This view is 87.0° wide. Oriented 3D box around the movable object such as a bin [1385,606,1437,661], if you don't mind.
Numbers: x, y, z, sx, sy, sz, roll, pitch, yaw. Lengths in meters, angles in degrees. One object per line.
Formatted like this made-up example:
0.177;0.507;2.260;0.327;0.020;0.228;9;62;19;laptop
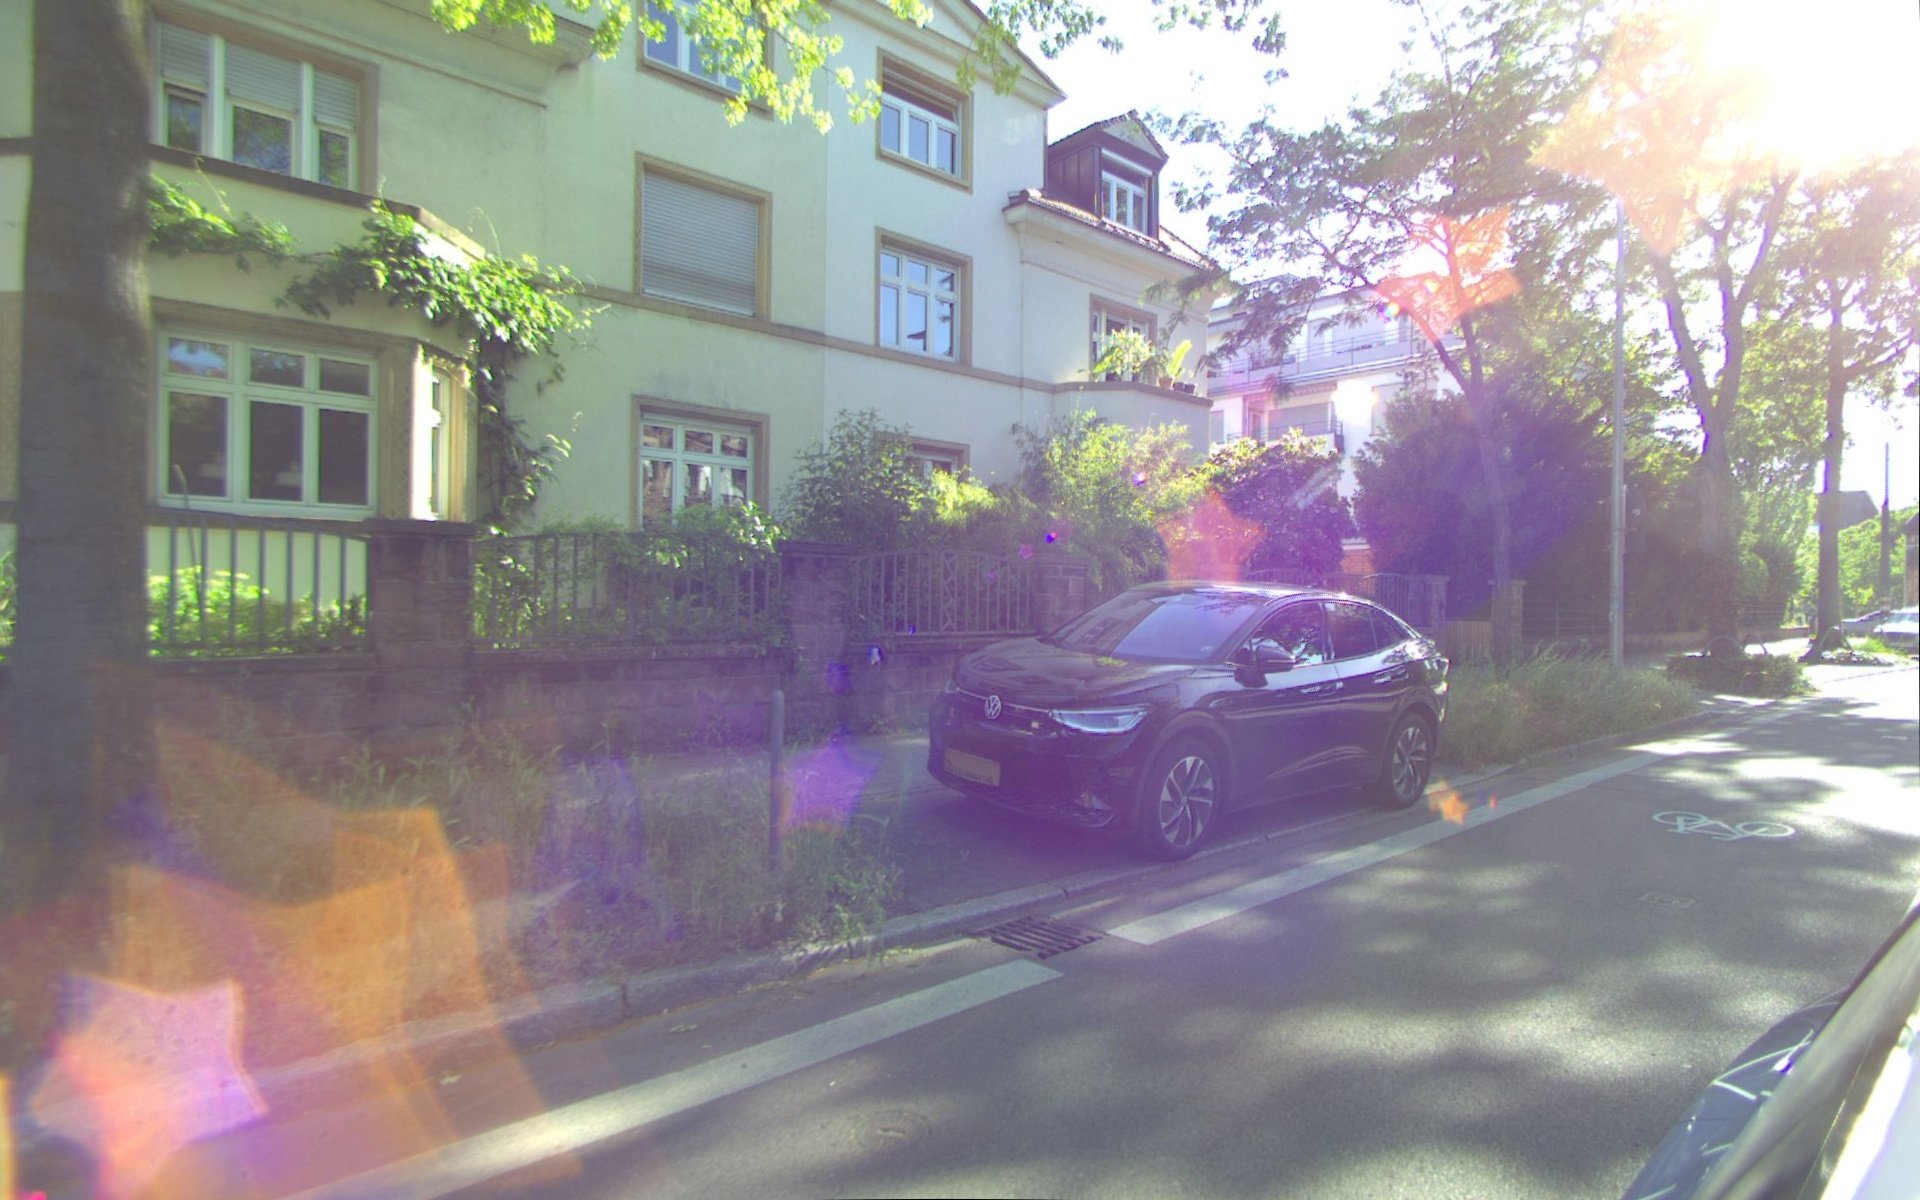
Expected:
9.448;0.694;21.194;0.717;1.112;0.748;0;0;-39;movable object such as a bin

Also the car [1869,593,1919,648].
27.631;0.549;28.627;4.251;1.440;2.000;-1;1;-36;car

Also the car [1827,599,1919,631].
43.311;0.671;46.864;1.932;1.386;4.522;0;1;-37;car

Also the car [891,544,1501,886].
1.941;0.556;7.370;4.644;1.714;1.809;0;4;-39;car
